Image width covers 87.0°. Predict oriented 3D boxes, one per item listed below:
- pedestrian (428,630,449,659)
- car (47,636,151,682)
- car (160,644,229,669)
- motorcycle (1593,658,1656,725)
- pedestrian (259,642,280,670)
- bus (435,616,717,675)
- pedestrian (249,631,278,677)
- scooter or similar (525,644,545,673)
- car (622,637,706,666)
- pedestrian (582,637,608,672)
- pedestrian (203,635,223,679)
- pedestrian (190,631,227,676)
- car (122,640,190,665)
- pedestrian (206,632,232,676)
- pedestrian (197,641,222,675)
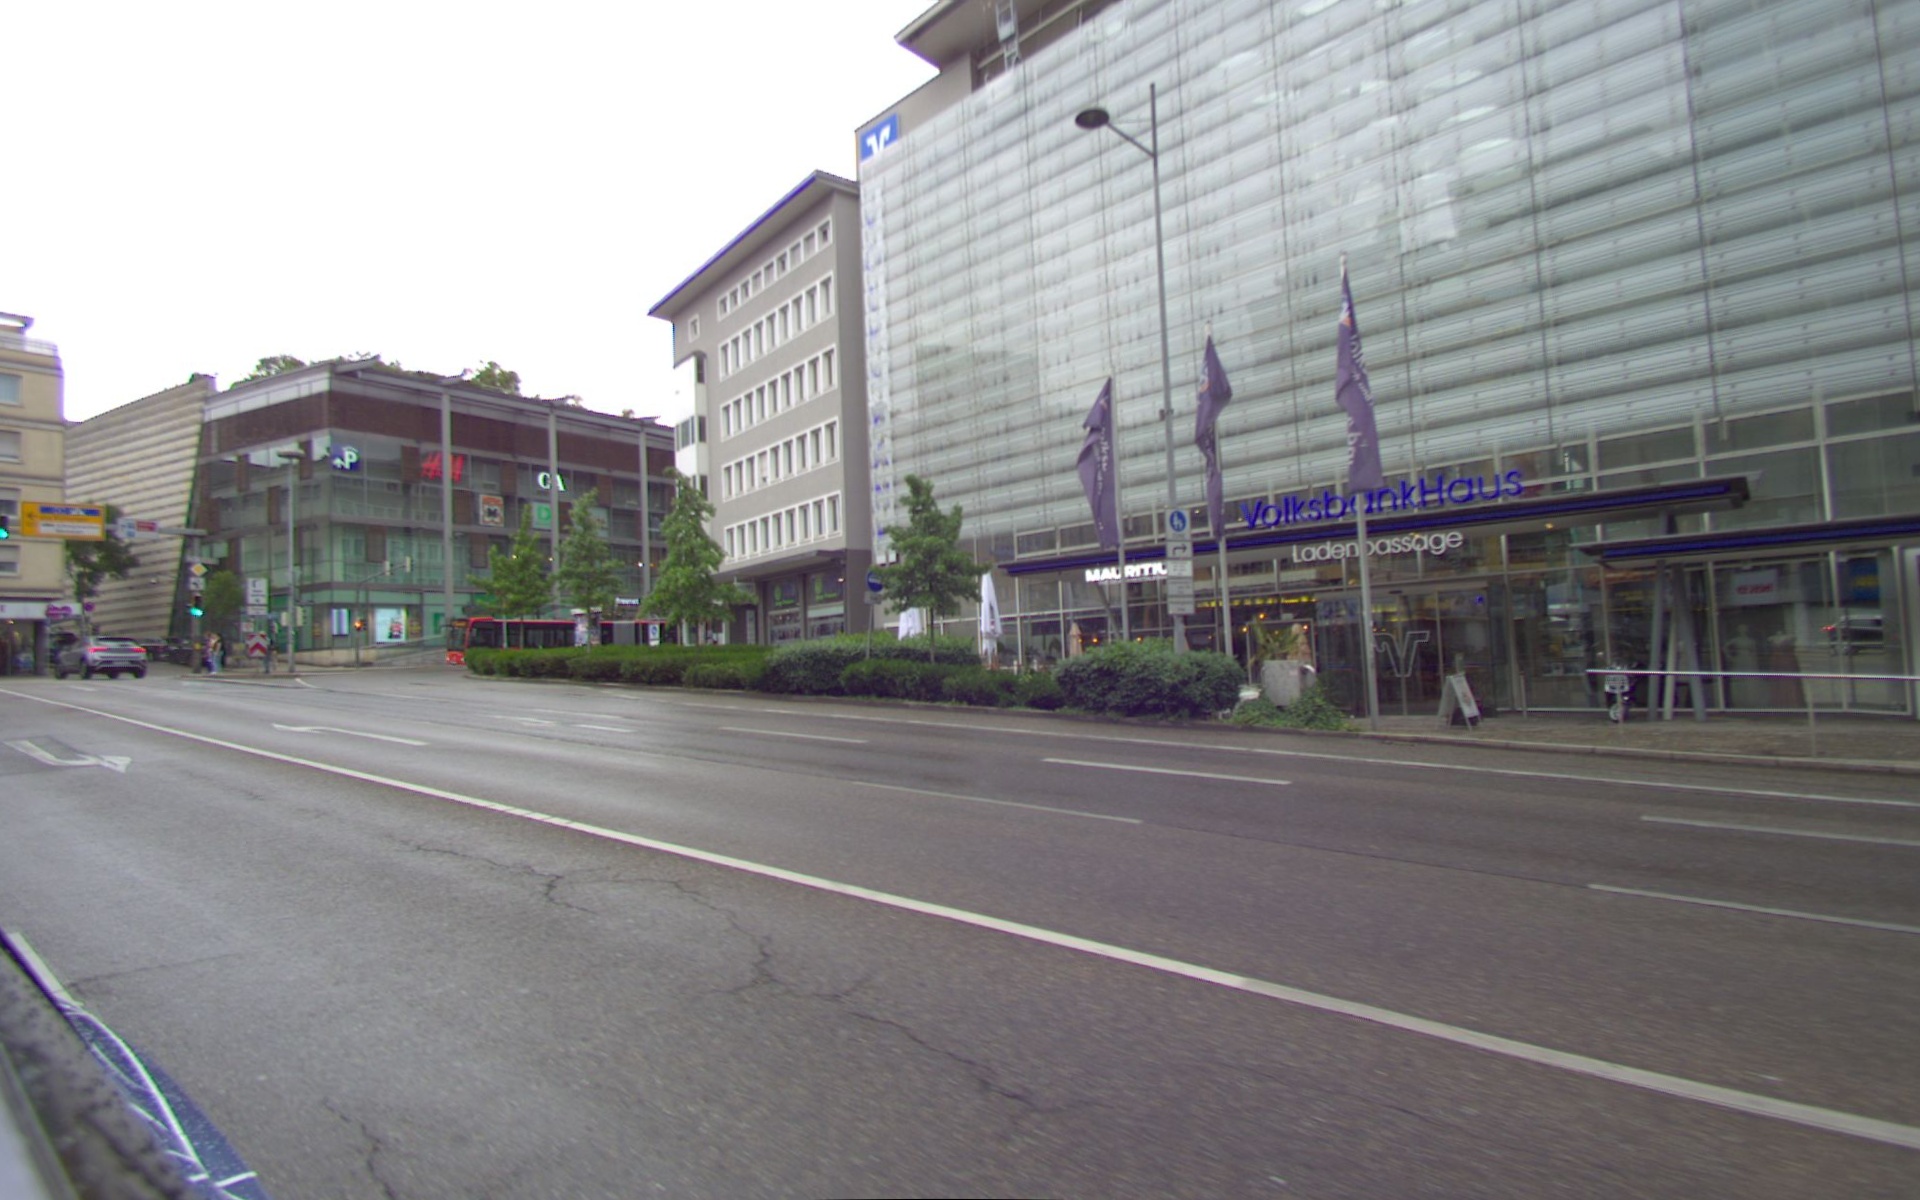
[{"bbox_3d":[-36.696,3.142,71.208,0.881,1.996,0.963,-3,-4,35],"label":"pedestrian"},{"bbox_3d":[-30.866,2.113,36.253,4.085,1.564,1.825,-2,-5,35],"label":"car"},{"bbox_3d":[-49.325,3.635,65.210,4.274,1.558,1.789,-1,-3,26],"label":"car"},{"bbox_3d":[13.805,1.870,21.022,0.769,1.305,1.529,-3,-3,45],"label":"motorcycle"},{"bbox_3d":[-44.929,3.662,65.871,1.043,1.775,0.689,-3,-4,26],"label":"pedestrian"},{"bbox_3d":[-23.879,3.025,65.295,2.925,3.346,18.246,-3,-4,37],"label":"bus"},{"bbox_3d":[-27.129,2.102,39.413,0.829,1.792,0.611,-2,-3,30],"label":"pedestrian"},{"bbox_3d":[-18.016,2.495,42.901,0.535,1.196,1.387,1,-5,-35],"label":"scooter or similar"},{"bbox_3d":[-22.172,3.886,76.018,2.446,2.091,5.839,-2,-3,34],"label":"car"},{"bbox_3d":[-18.872,2.829,52.336,1.021,1.789,0.791,-2,-4,30],"label":"pedestrian"},{"bbox_3d":[-29.205,2.229,39.550,0.571,1.681,0.494,-4,-5,42],"label":"pedestrian"},{"bbox_3d":[-30.496,2.167,41.063,1.009,1.801,0.845,-2,-3,29],"label":"pedestrian"},{"bbox_3d":[-54.089,3.503,68.078,4.357,1.558,1.882,-1,-1,26],"label":"car"},{"bbox_3d":[-28.666,2.084,39.146,0.784,1.702,0.629,-3,-4,44],"label":"pedestrian"},{"bbox_3d":[-29.610,2.292,39.929,0.629,1.350,0.582,-2,-3,30],"label":"pedestrian"}]
